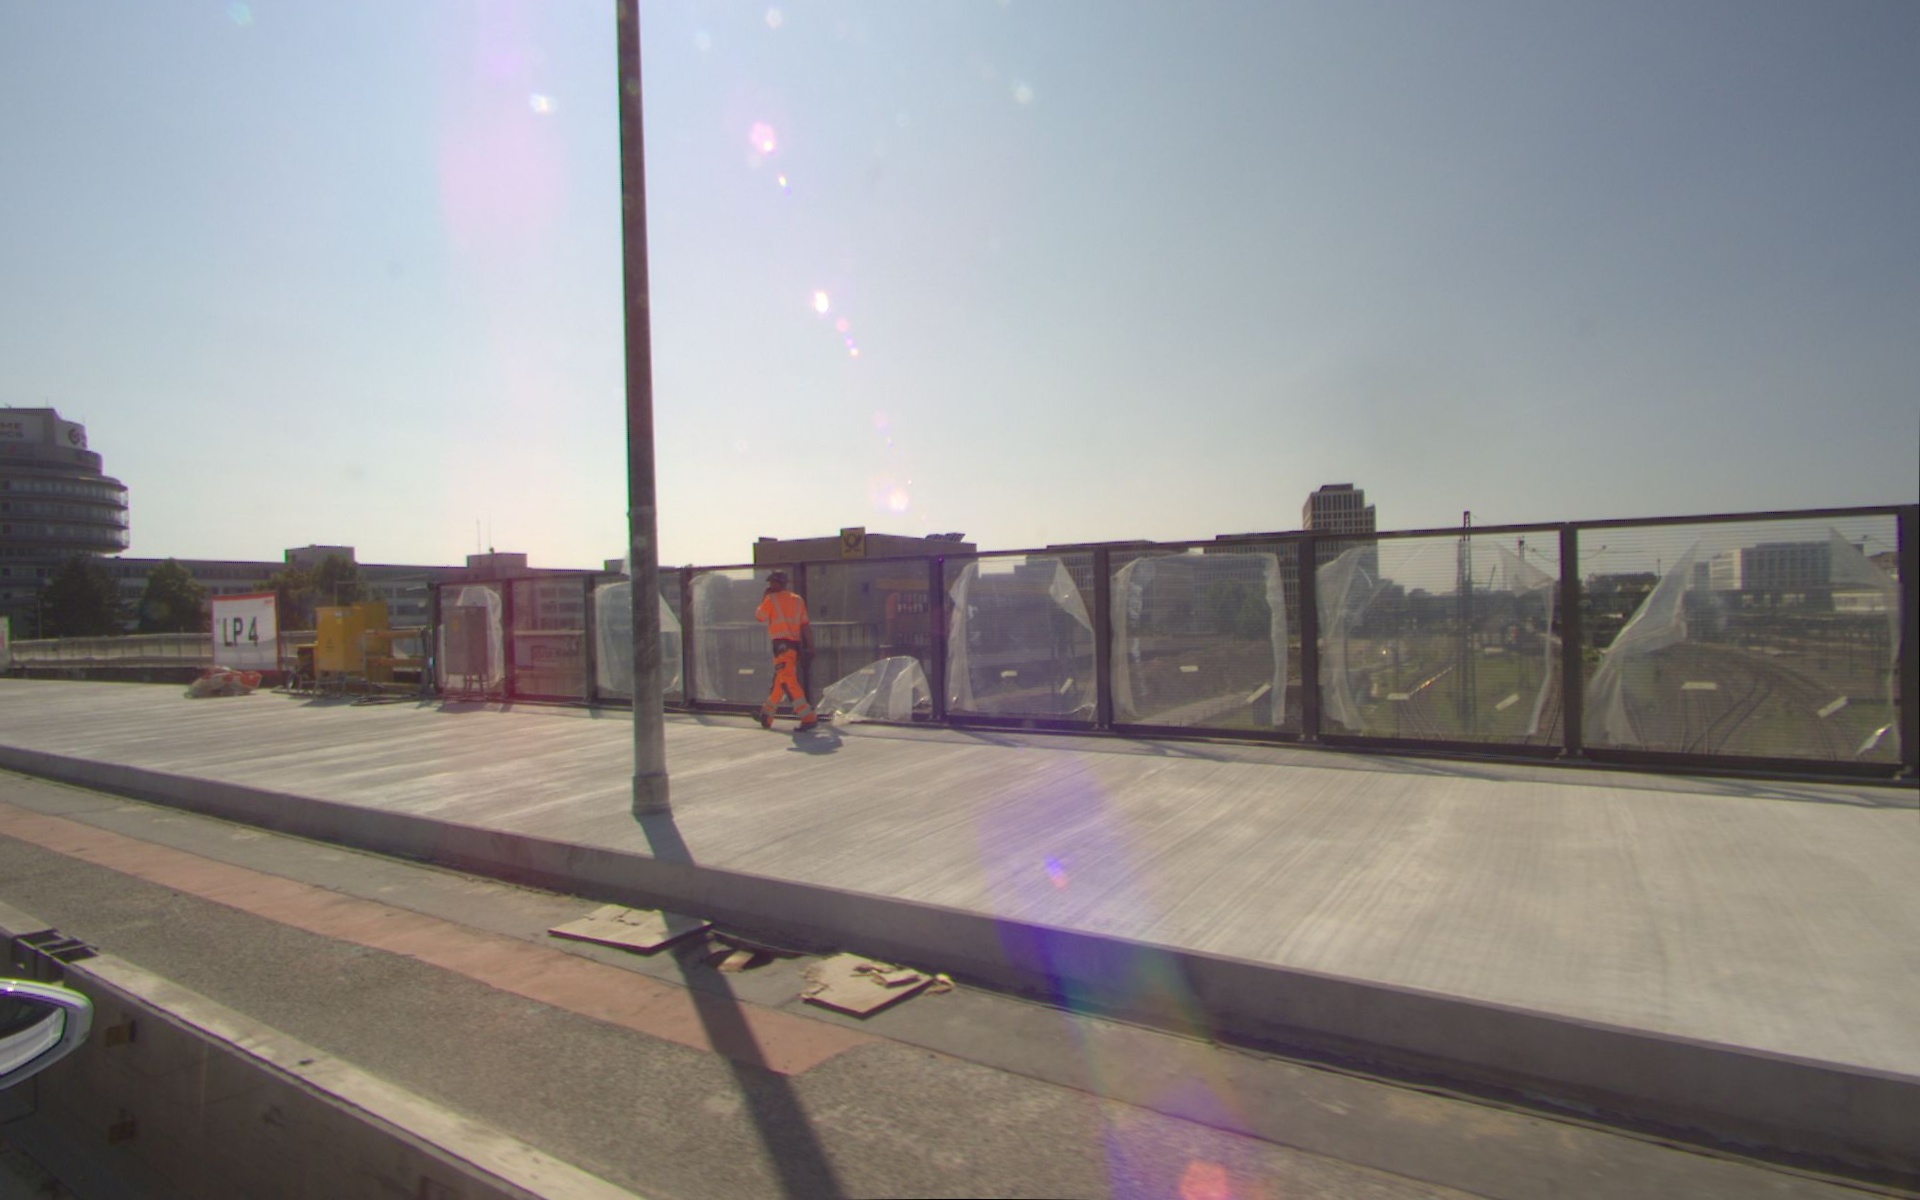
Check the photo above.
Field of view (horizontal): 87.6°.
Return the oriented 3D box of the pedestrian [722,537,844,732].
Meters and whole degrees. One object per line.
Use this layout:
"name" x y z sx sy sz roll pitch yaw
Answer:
"pedestrian" -1.900 0.355 10.769 1.002 1.991 0.729 -1 2 33
